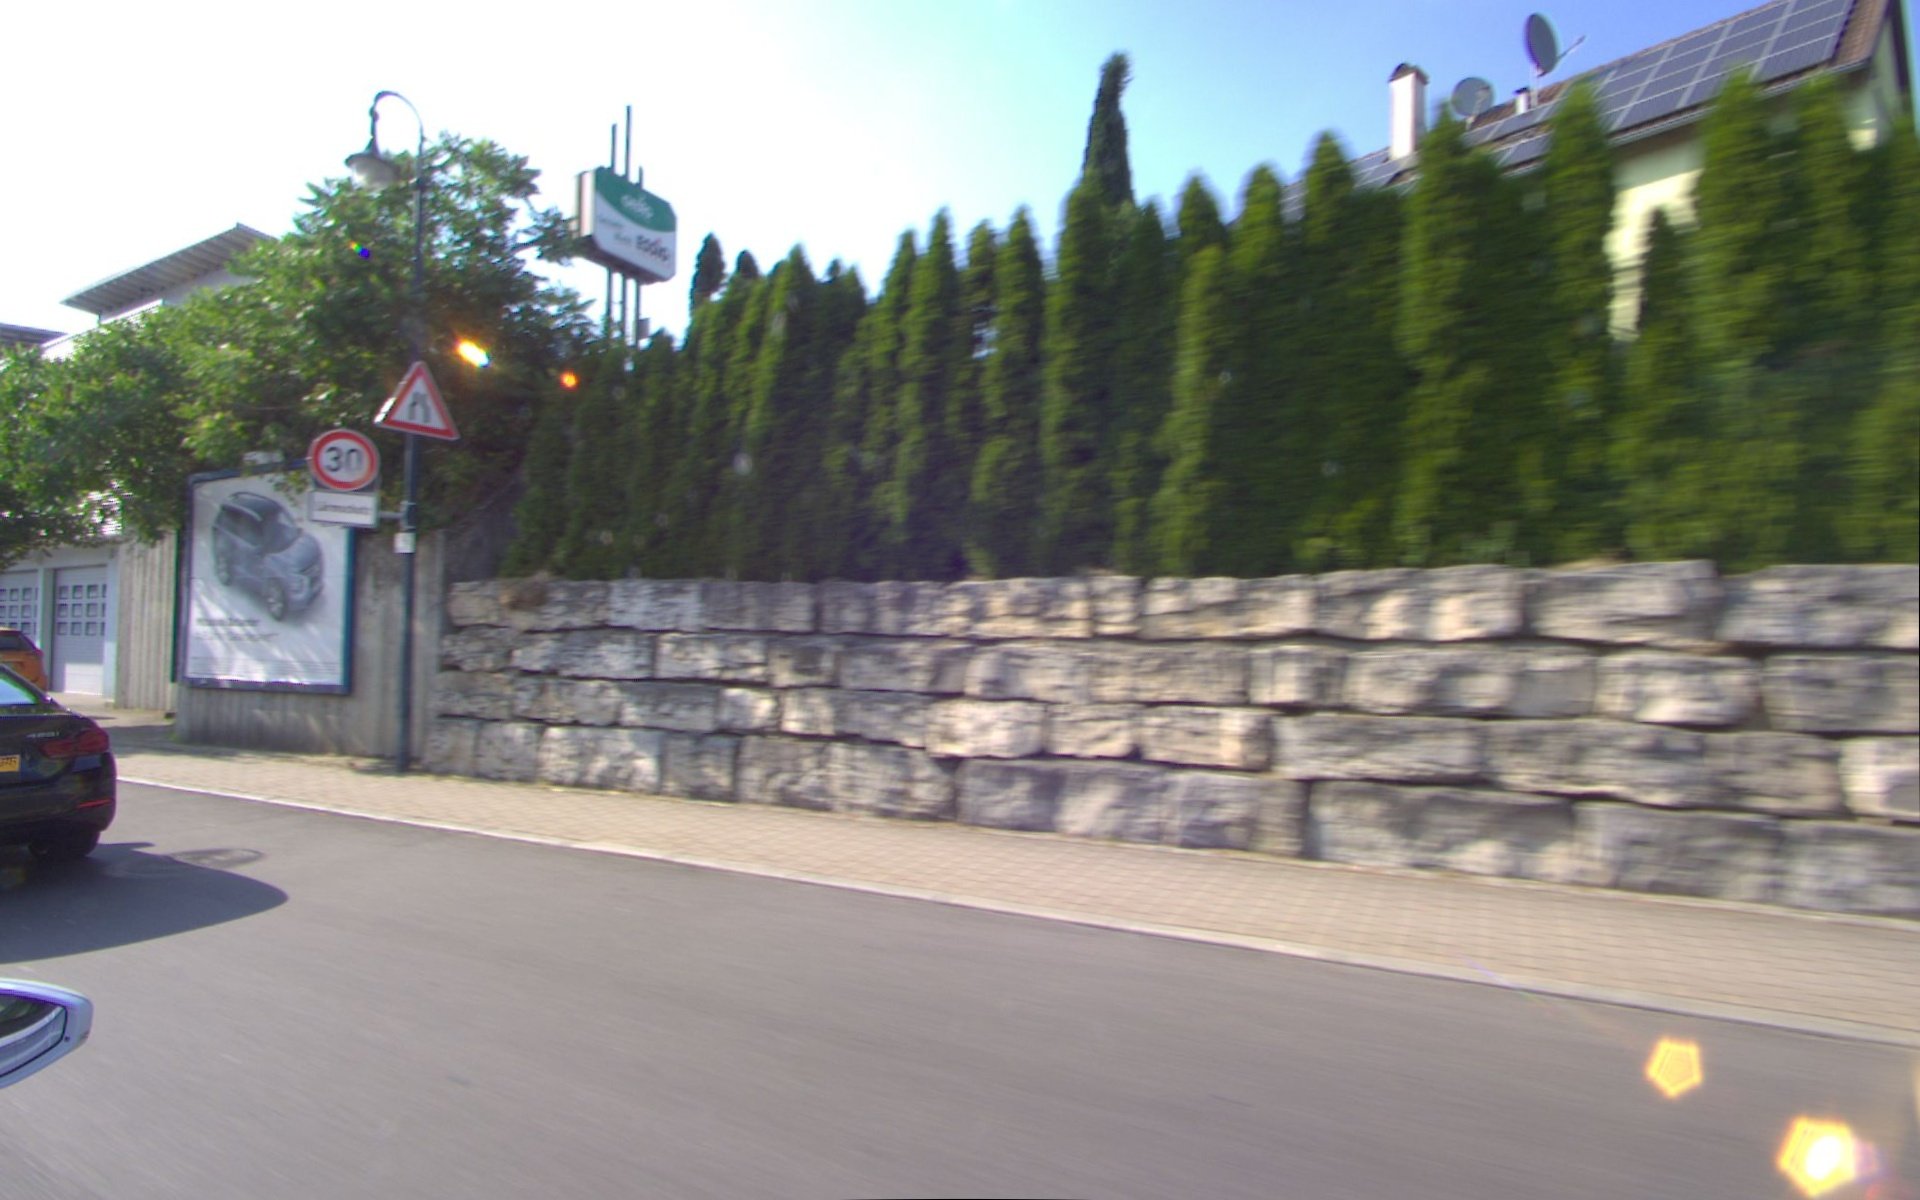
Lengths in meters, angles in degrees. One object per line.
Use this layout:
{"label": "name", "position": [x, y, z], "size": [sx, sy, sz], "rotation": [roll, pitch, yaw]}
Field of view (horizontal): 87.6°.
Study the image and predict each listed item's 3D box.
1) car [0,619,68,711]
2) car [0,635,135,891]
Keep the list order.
{"label": "car", "position": [-19.519, 1.208, 19.259], "size": [4.463, 1.670, 1.836], "rotation": [-1, -2, 24]}
{"label": "car", "position": [-7.253, 0.916, 6.356], "size": [4.197, 1.386, 1.698], "rotation": [0, -1, 29]}
